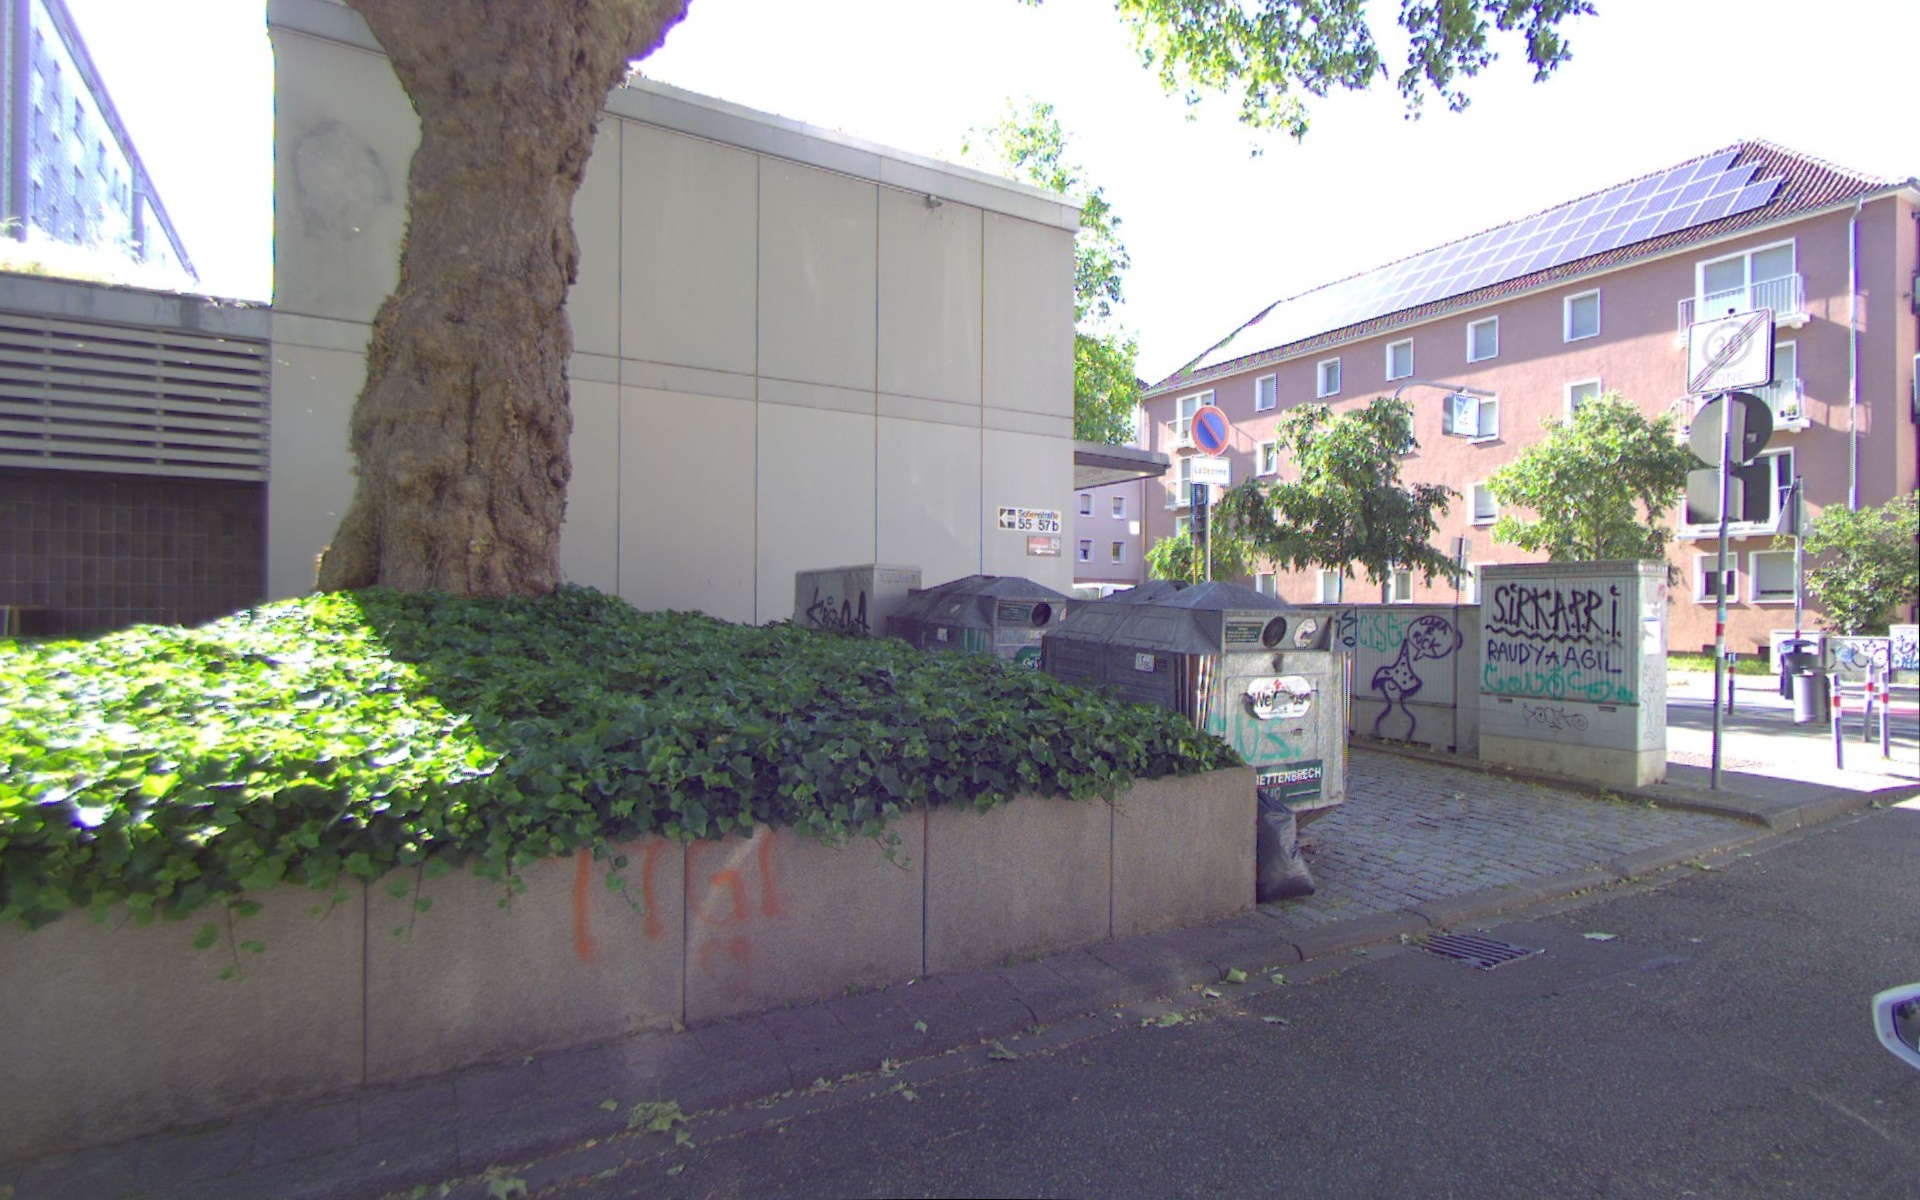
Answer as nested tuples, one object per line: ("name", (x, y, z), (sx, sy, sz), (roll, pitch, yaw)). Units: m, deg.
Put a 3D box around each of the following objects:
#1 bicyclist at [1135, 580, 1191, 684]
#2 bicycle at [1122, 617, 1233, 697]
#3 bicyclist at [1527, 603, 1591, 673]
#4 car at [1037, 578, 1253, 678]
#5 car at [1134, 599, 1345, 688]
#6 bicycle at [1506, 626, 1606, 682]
("bicyclist", (3.211, 0.499, 15.921), (0.529, 1.605, 0.698), (1, -1, -38))
("bicycle", (3.427, 0.859, 15.774), (1.703, 1.168, 0.796), (1, 1, -39))
("bicyclist", (13.663, 0.856, 22.924), (0.730, 1.539, 1.037), (1, -1, -30))
("car", (4.198, 0.679, 22.508), (4.694, 2.032, 1.942), (3, -2, -33))
("car", (5.712, 0.847, 20.407), (4.256, 1.634, 1.743), (1, -1, -32))
("bicycle", (13.626, 1.208, 23.025), (0.622, 1.213, 1.938), (1, -1, -30))
